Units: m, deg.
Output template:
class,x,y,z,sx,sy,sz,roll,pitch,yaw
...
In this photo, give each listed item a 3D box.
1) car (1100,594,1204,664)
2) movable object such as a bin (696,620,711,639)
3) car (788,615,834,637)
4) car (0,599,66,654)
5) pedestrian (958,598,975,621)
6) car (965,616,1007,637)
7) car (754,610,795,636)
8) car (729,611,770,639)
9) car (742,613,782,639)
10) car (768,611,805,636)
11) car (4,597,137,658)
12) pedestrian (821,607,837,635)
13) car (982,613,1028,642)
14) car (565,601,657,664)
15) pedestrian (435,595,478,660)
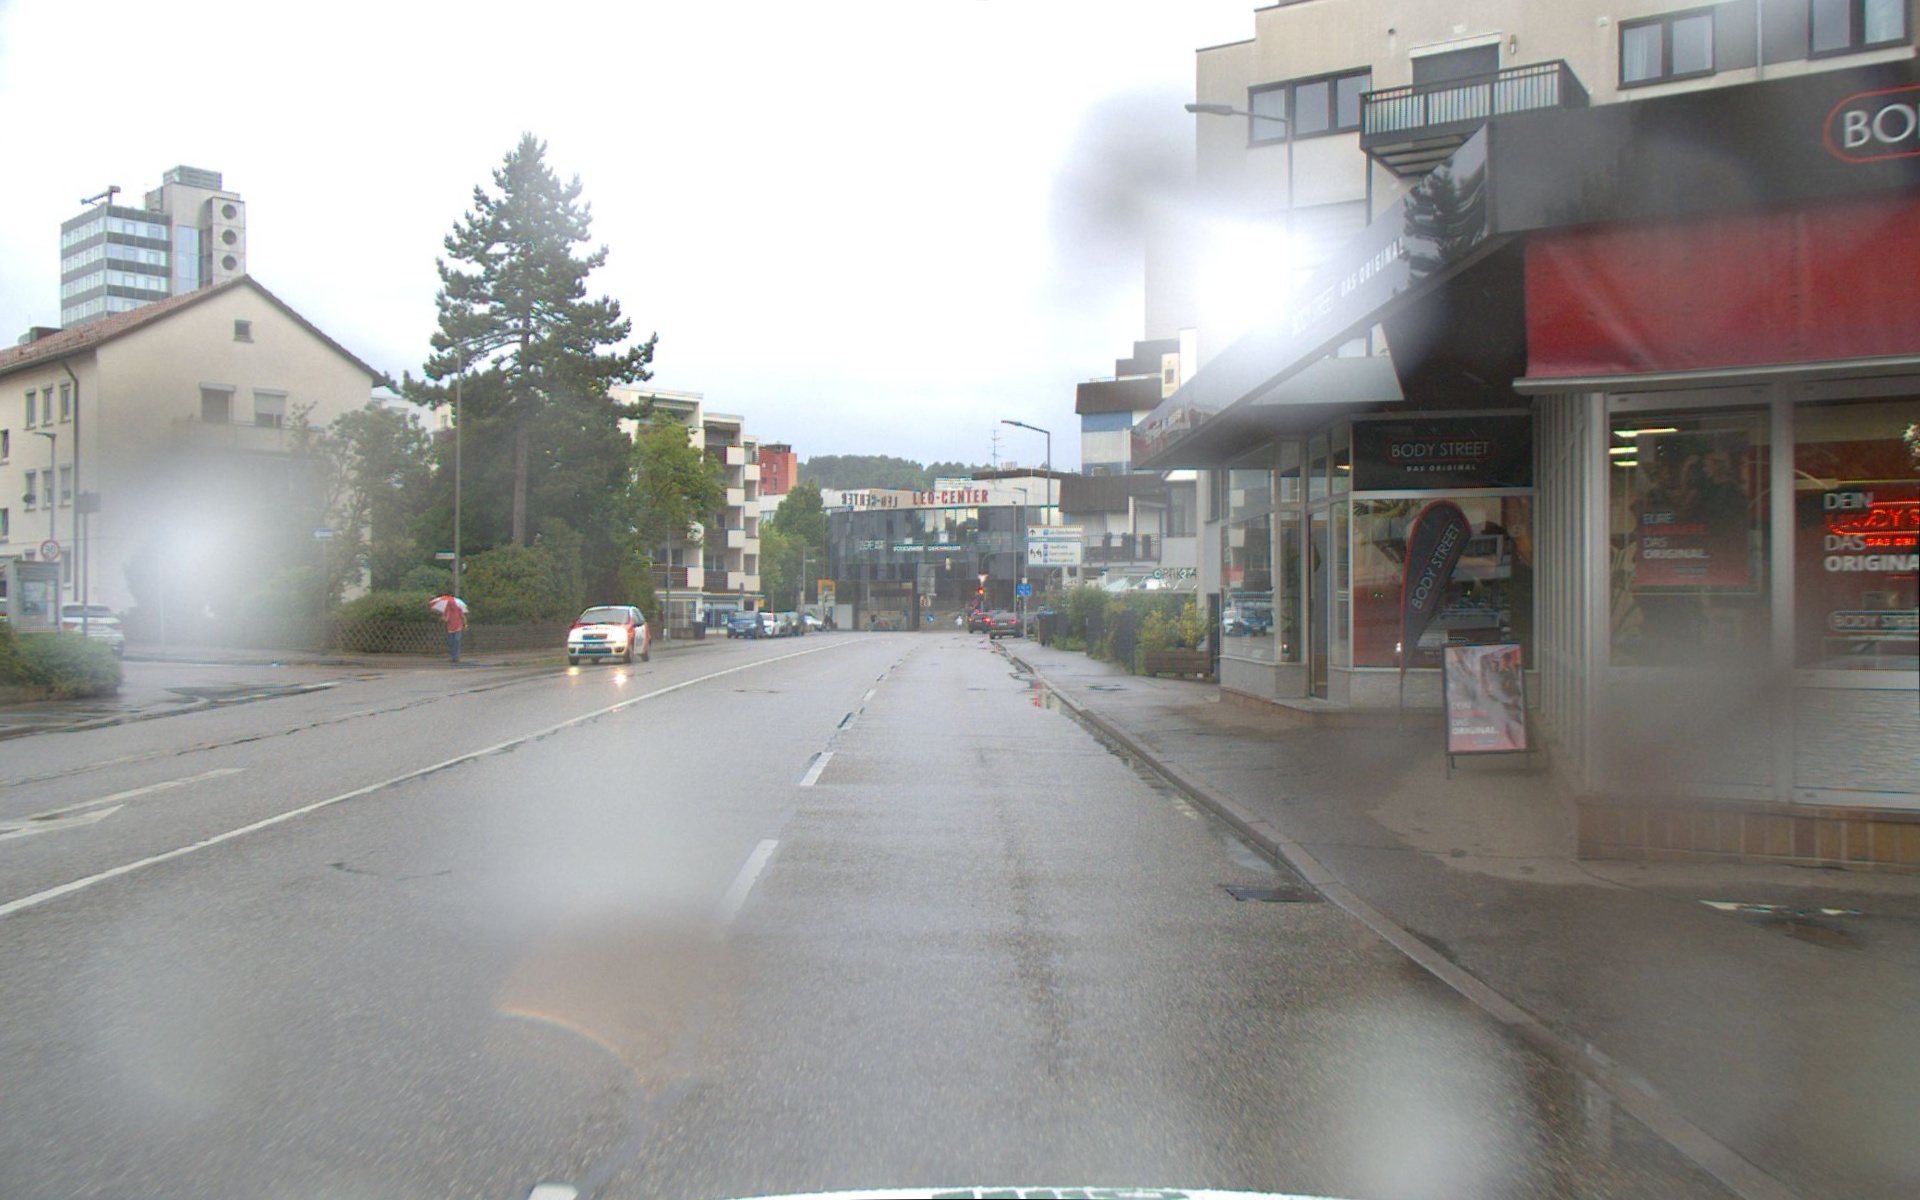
class,x,y,z,sx,sy,sz,roll,pitch,yaw
car,5.182,0.761,45.272,1.954,1.817,4.686,0,0,-5
movable object such as a bin,-13.731,1.590,88.543,0.634,0.983,0.682,0,-1,1
car,-13.068,2.267,145.006,1.977,1.538,4.379,4,1,-35
car,-26.600,0.710,46.156,3.755,1.472,1.776,0,-1,43
pedestrian,0.496,0.705,123.103,0.897,1.688,0.749,4,0,-26
car,1.822,1.843,116.373,1.767,1.444,4.001,0,-1,20
car,-11.577,1.440,103.699,1.894,1.569,4.522,0,-1,2
car,-11.773,1.390,92.625,1.617,1.547,4.325,0,-1,2
car,-11.816,1.516,98.715,1.658,1.490,4.685,0,-1,2
car,-11.455,1.548,109.434,1.894,1.569,4.273,0,-1,2
car,-22.523,0.671,41.831,3.932,1.472,1.776,0,-1,43
pedestrian,-10.003,1.599,126.479,0.733,2.048,0.921,4,-1,22
car,2.673,1.646,96.867,1.951,1.560,4.650,1,-2,11
car,-9.039,0.817,43.129,1.664,1.433,3.998,-2,1,-3
pedestrian,-12.797,0.709,42.040,0.853,1.635,1.101,1,-1,-8
